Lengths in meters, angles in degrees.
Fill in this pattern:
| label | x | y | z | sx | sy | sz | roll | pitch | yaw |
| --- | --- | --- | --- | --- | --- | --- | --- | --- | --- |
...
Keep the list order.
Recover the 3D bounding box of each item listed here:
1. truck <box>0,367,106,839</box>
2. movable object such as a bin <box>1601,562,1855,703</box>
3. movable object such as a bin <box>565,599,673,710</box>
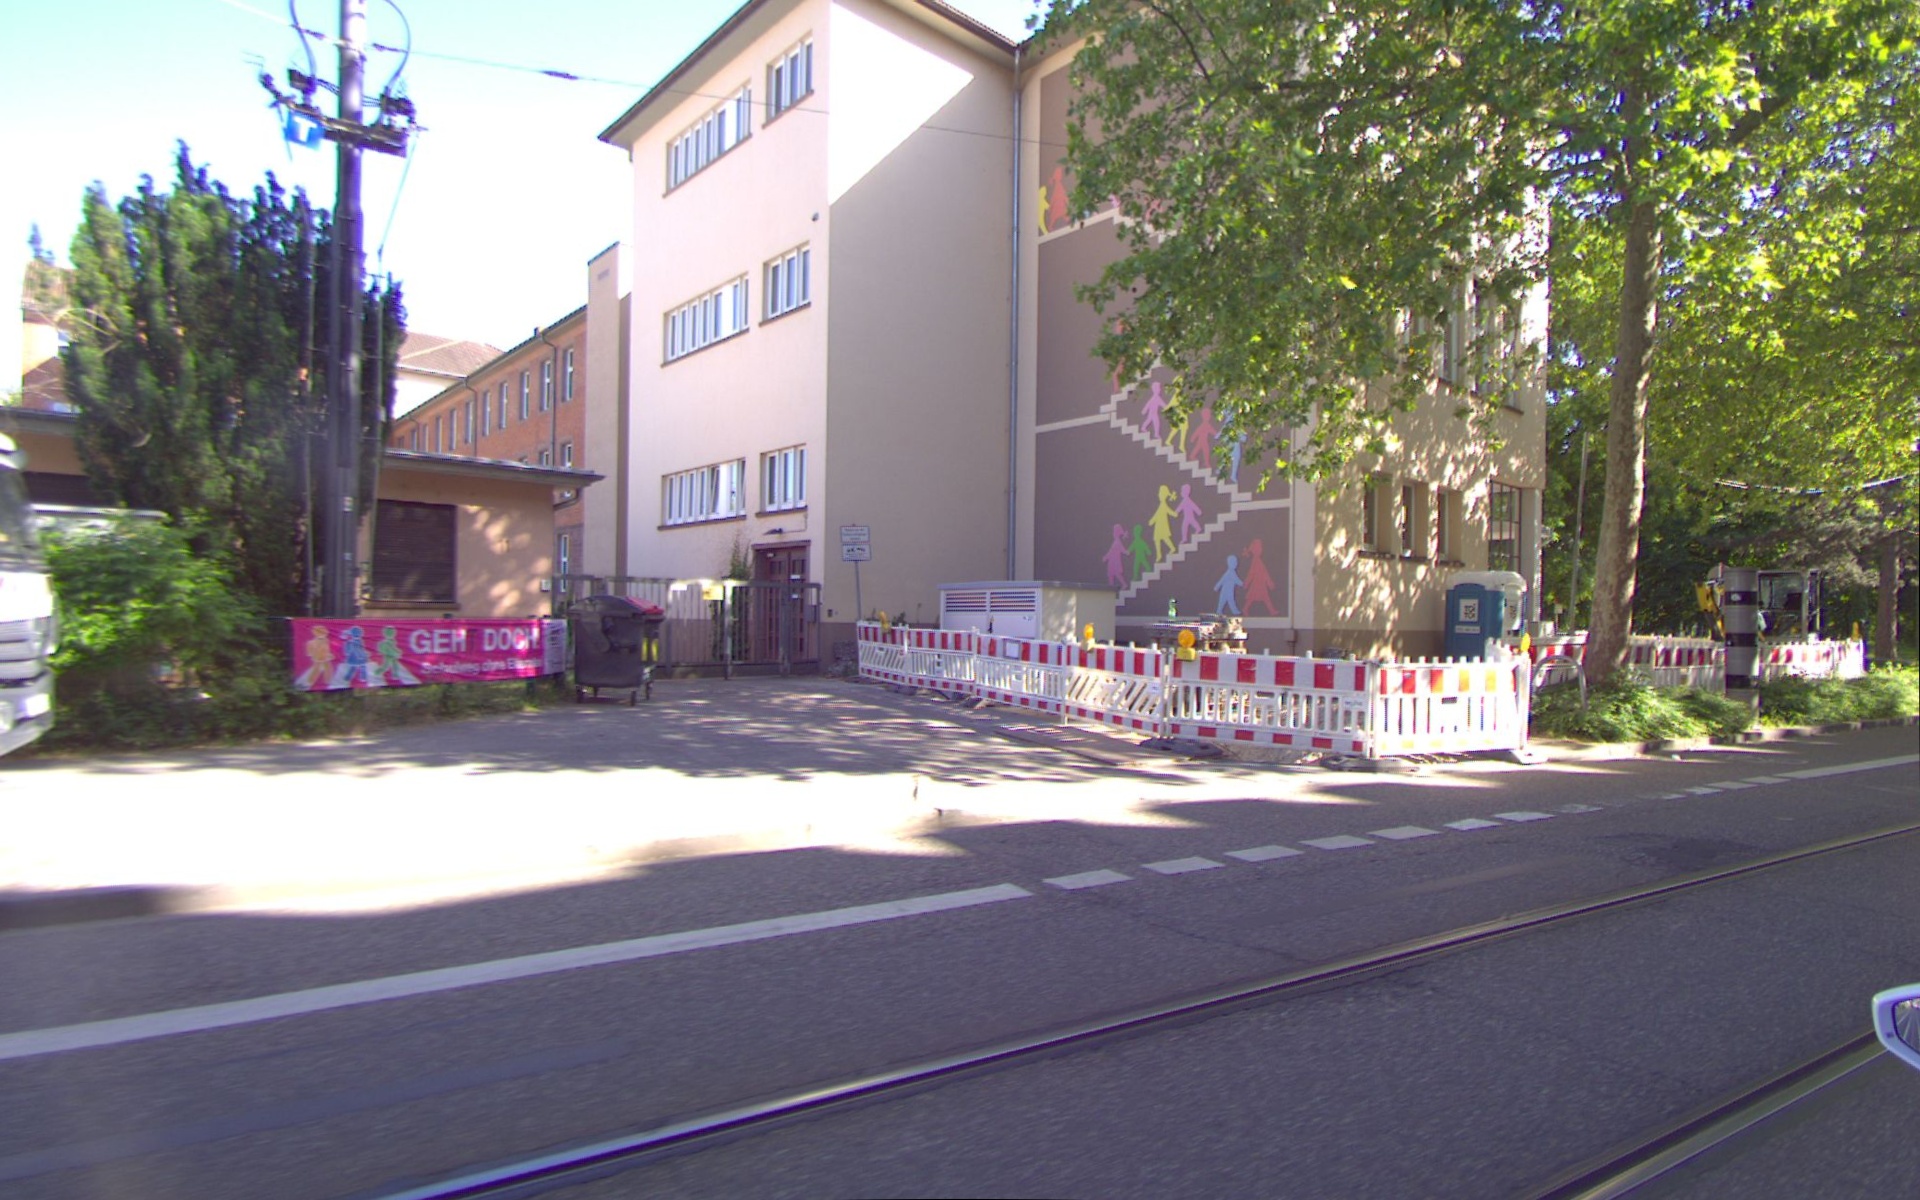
| label | x | y | z | sx | sy | sz | roll | pitch | yaw |
| --- | --- | --- | --- | --- | --- | --- | --- | --- | --- |
| truck | -9.005 | -0.083 | 5.463 | 6.310 | 2.868 | 2.522 | 2 | 0 | -34 |
| movable object such as a bin | 16.673 | 0.654 | 21.721 | 5.925 | 2.681 | 2.480 | 1 | 1 | -33 |
| movable object such as a bin | -4.631 | 0.723 | 13.766 | 1.265 | 1.424 | 1.136 | 2 | 0 | -14 |
